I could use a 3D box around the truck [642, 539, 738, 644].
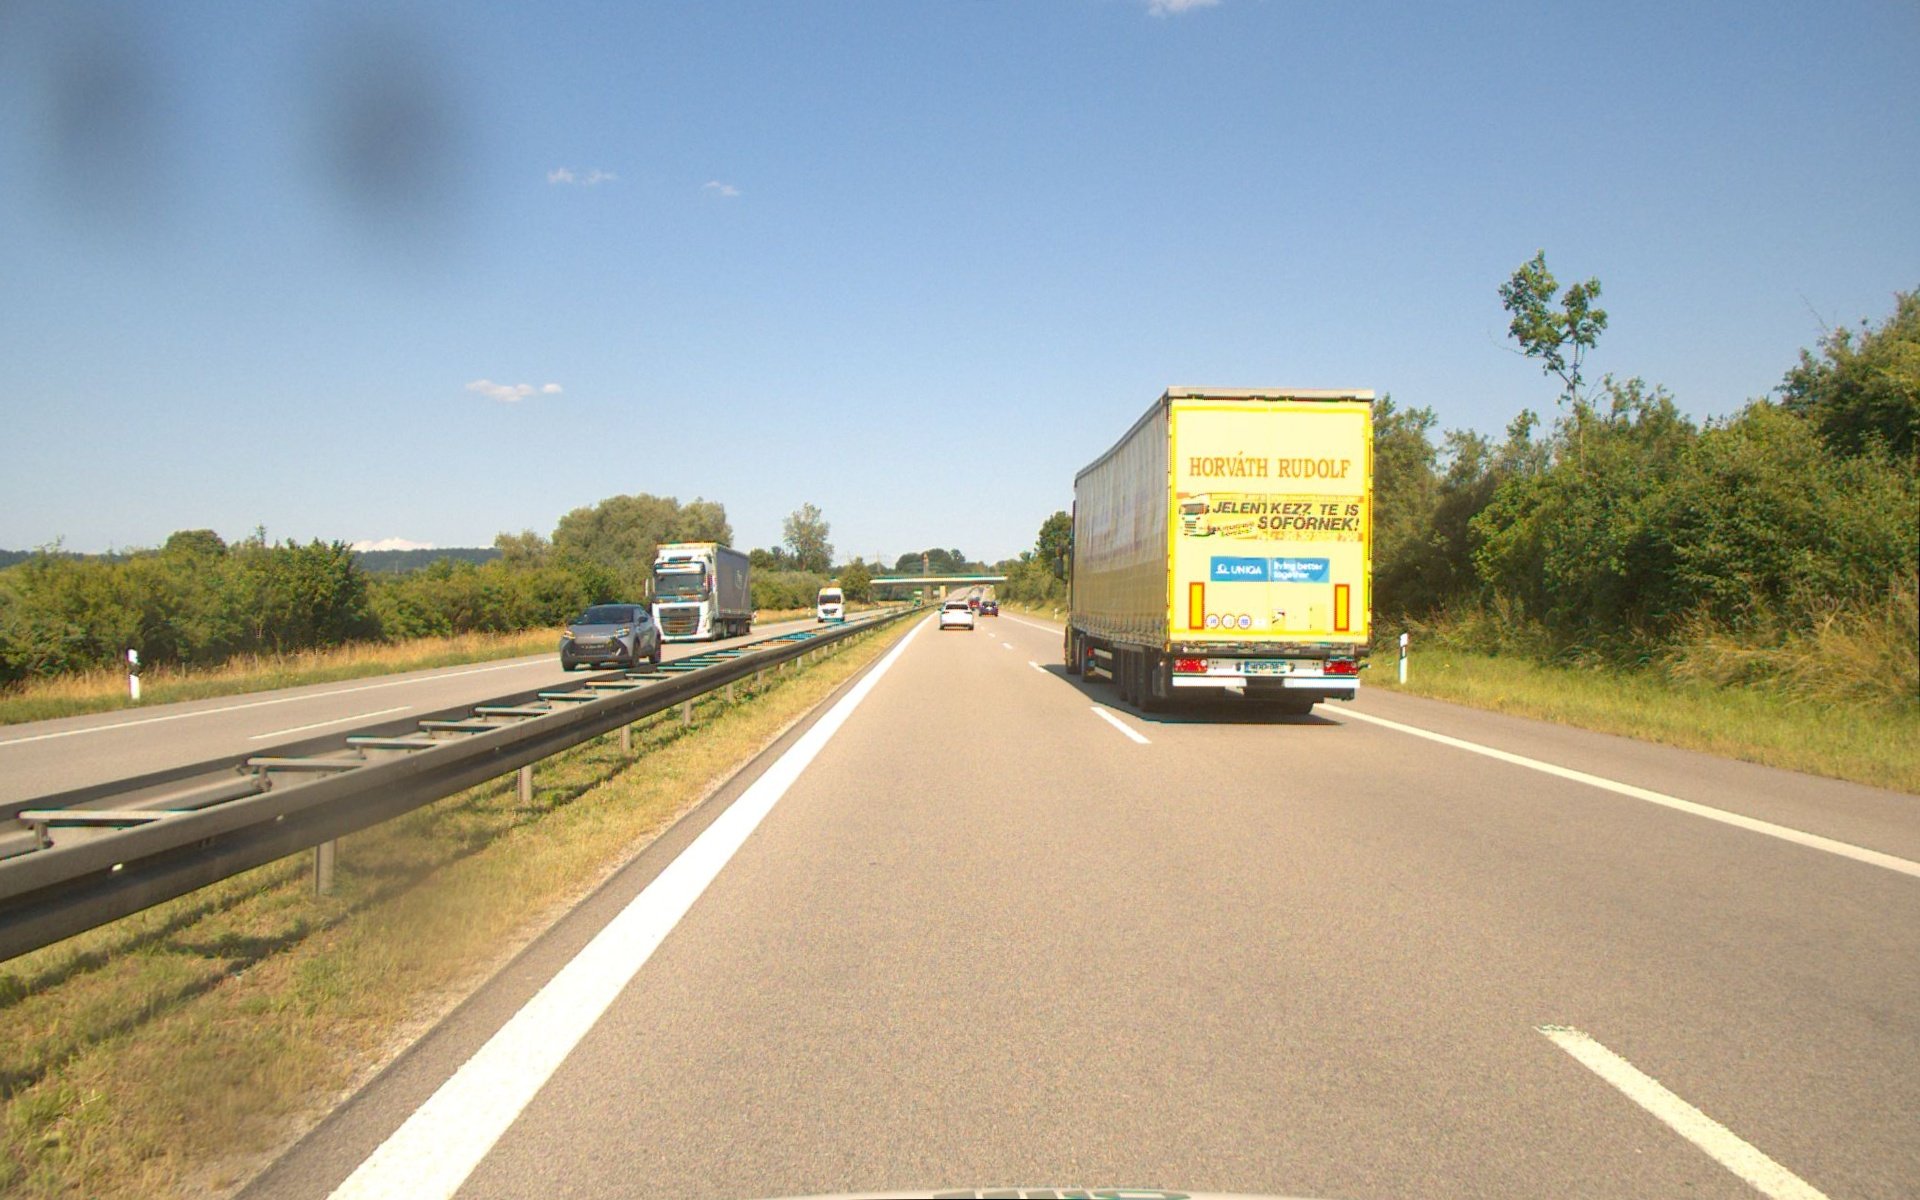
[{"bbox_3d":[-11.511,-0.341,71.056,3.105,4.185,6.386,-2,0,-2],"label":"truck"}]

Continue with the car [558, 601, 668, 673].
[{"bbox_3d":[-8.648,0.884,41.564,1.690,1.610,4.767,-3,0,0],"label":"car"}]

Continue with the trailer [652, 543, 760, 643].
[{"bbox_3d":[-11.723,-0.273,77.793,3.121,4.130,14.591,-3,0,-2],"label":"trailer"}]

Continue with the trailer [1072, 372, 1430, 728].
[{"bbox_3d":[3.884,-0.562,26.104,3.120,4.130,13.184,1,0,-1],"label":"trailer"}]

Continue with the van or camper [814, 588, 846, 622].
[{"bbox_3d":[-10.166,0.416,129.354,1.953,2.540,7.226,-2,0,-1],"label":"van or camper"}]

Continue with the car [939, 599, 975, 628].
[{"bbox_3d":[-0.155,0.695,86.083,1.805,1.440,4.000,1,0,0],"label":"car"}]

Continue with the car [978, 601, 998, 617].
[{"bbox_3d":[2.696,0.848,160.453,1.805,1.546,4.000,1,0,0],"label":"car"}]

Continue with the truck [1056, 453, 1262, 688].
[{"bbox_3d":[3.791,-0.520,33.051,3.105,4.186,6.386,1,0,-2],"label":"truck"}]
